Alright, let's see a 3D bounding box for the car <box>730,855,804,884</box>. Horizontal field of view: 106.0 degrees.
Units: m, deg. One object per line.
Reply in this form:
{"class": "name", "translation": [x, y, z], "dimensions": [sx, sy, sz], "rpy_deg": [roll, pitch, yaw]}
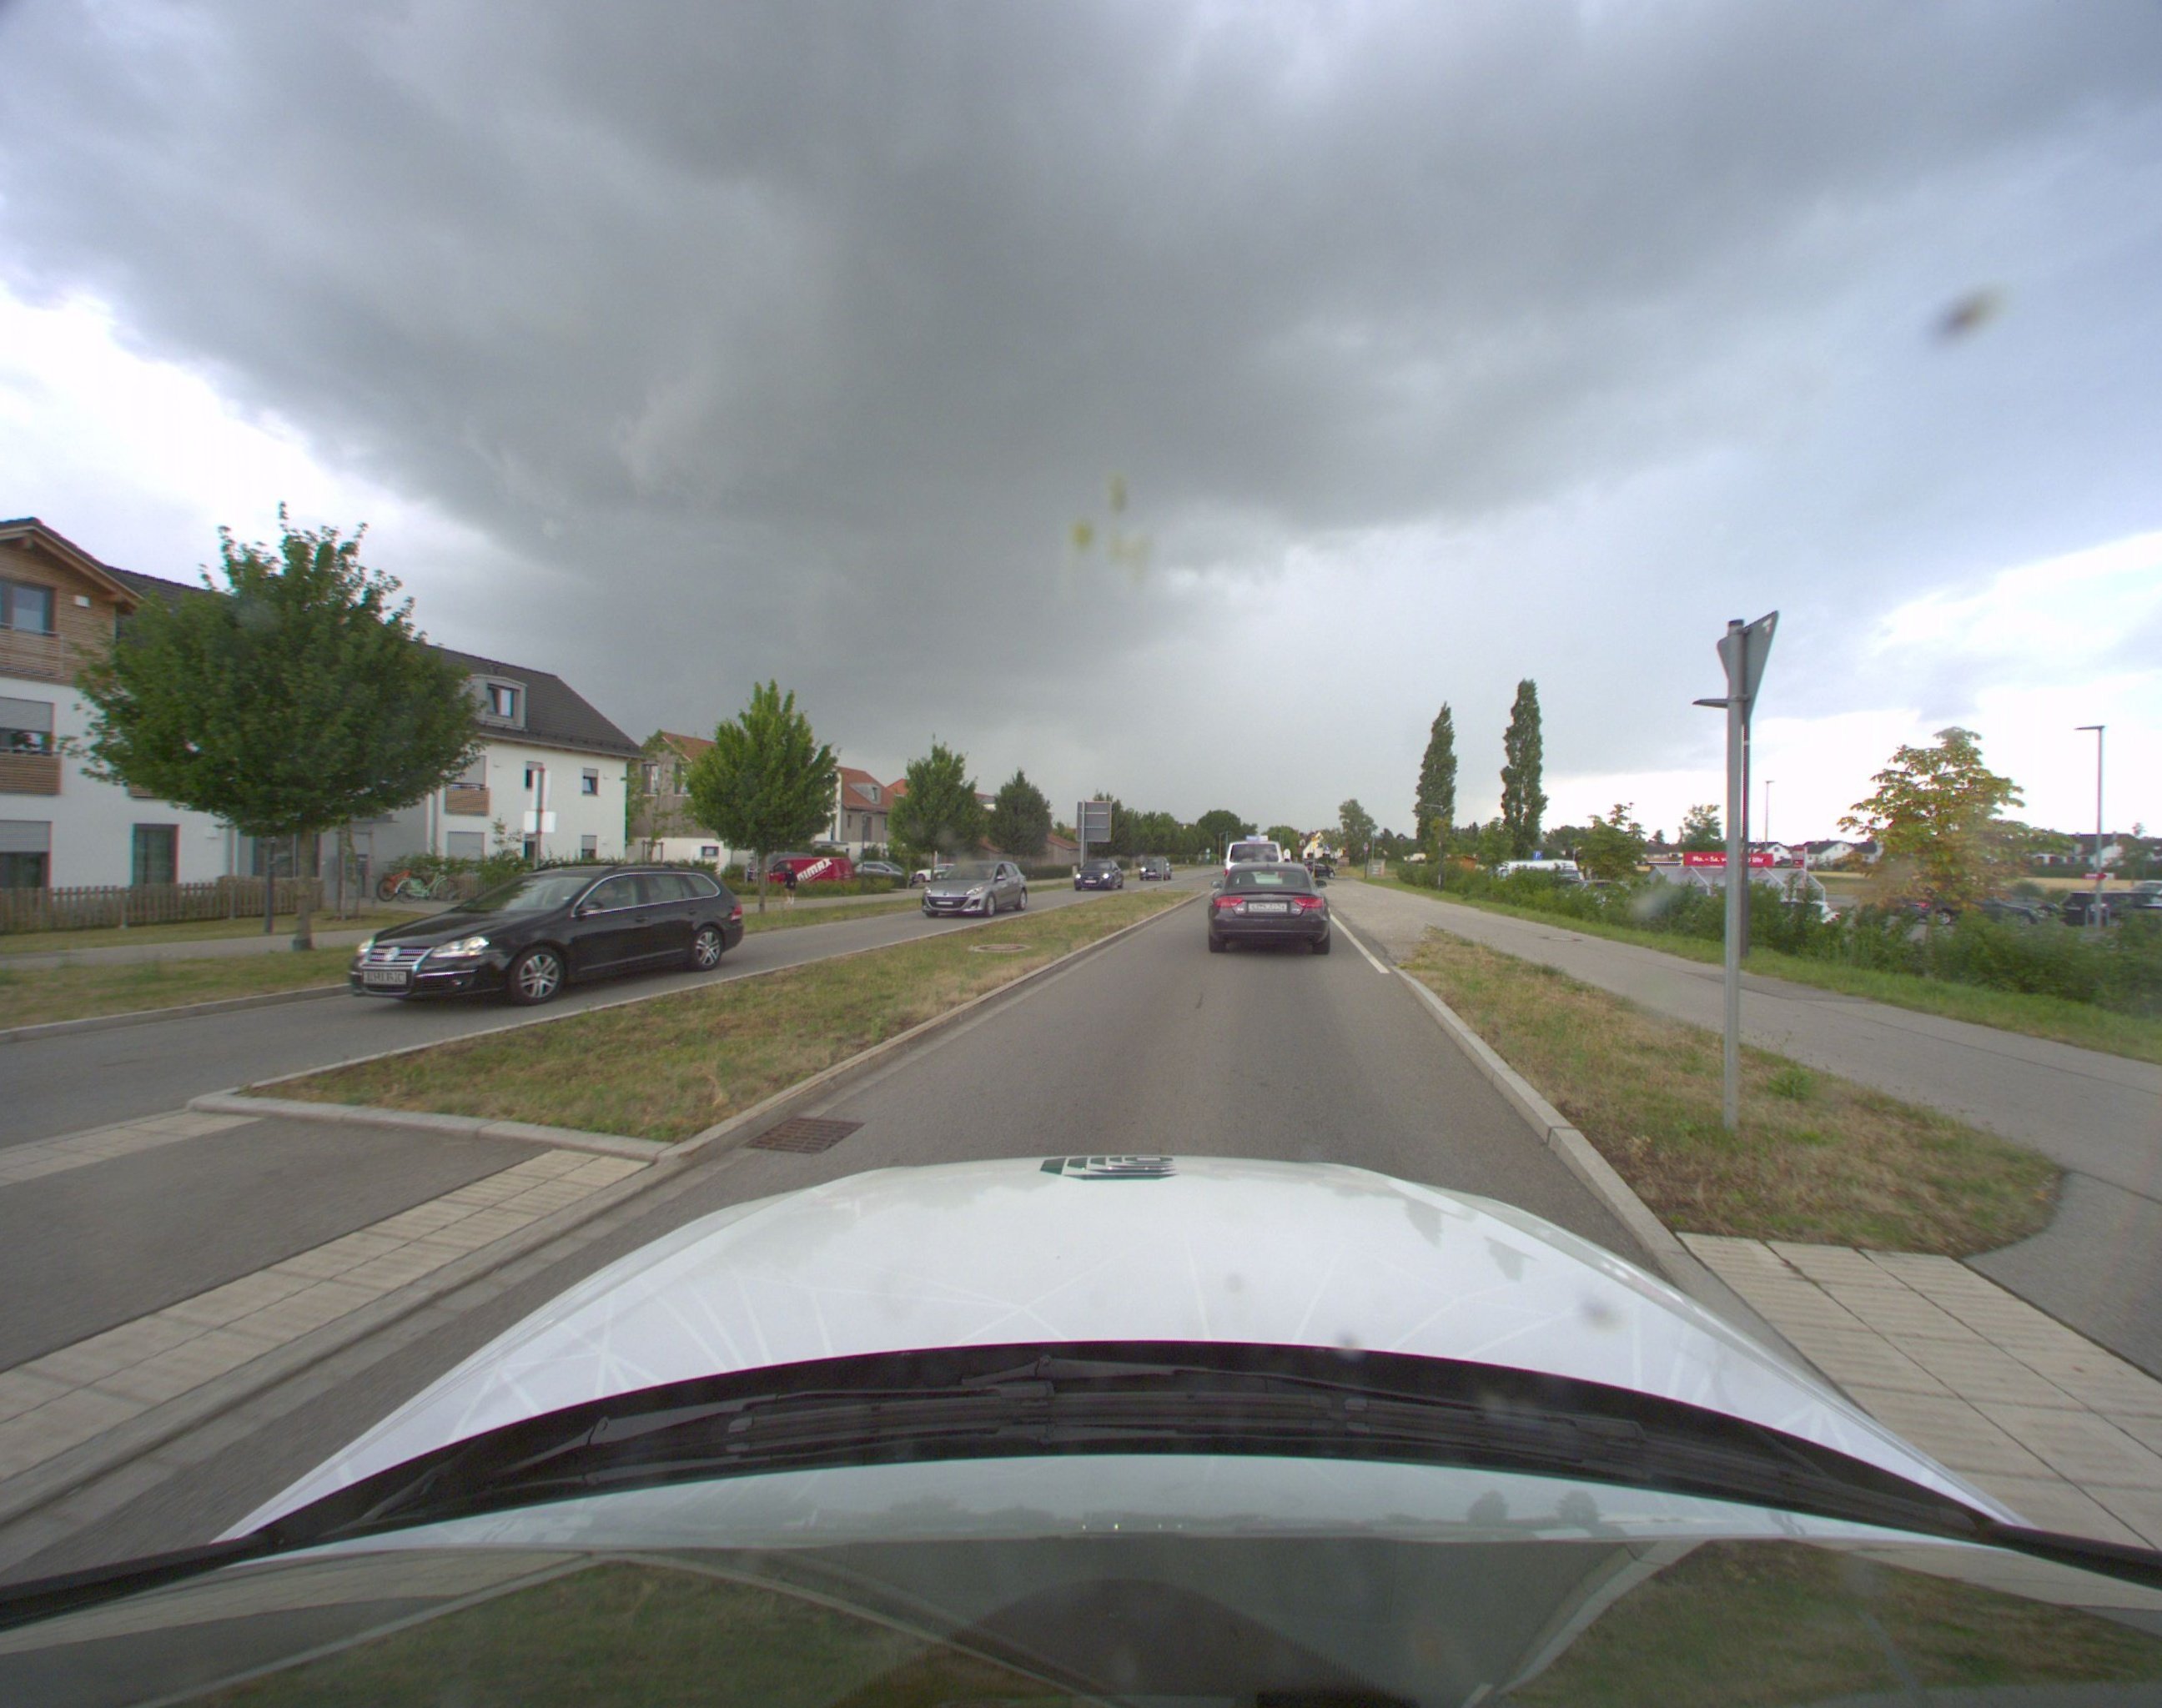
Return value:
{"class": "car", "translation": [-20.130, 0.988, 52.376], "dimensions": [1.978, 1.772, 4.486], "rpy_deg": [1, -1, 18]}

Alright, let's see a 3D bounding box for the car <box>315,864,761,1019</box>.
{"class": "car", "translation": [-6.104, 0.854, 9.950], "dimensions": [1.740, 1.416, 4.473], "rpy_deg": [-1, -1, 15]}

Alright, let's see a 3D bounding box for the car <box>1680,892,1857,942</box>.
{"class": "car", "translation": [23.391, 2.121, 27.898], "dimensions": [4.203, 1.440, 2.007], "rpy_deg": [1, 0, 13]}

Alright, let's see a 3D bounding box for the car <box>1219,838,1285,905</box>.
{"class": "car", "translation": [5.431, 0.545, 26.006], "dimensions": [1.855, 1.934, 4.012], "rpy_deg": [-2, -1, 11]}

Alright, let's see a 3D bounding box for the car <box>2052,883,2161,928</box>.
{"class": "car", "translation": [43.441, 2.148, 33.722], "dimensions": [3.960, 1.706, 1.722], "rpy_deg": [1, -1, 12]}

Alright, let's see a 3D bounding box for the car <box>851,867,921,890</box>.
{"class": "car", "translation": [-12.422, 1.531, 51.902], "dimensions": [3.890, 1.315, 1.848], "rpy_deg": [1, 0, 10]}

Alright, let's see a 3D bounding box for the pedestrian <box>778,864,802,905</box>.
{"class": "pedestrian", "translation": [-11.372, 1.173, 31.854], "dimensions": [0.577, 1.559, 0.662], "rpy_deg": [1, 0, 11]}

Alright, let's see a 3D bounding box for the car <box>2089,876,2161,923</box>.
{"class": "car", "translation": [49.657, 2.055, 37.015], "dimensions": [5.088, 2.013, 2.001], "rpy_deg": [0, 1, 2]}

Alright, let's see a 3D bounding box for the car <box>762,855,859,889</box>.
{"class": "car", "translation": [-14.398, 0.920, 43.446], "dimensions": [4.496, 1.680, 2.008], "rpy_deg": [1, 0, 16]}

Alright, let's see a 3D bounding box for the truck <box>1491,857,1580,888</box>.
{"class": "truck", "translation": [30.005, 1.222, 53.917], "dimensions": [4.768, 1.872, 2.005], "rpy_deg": [1, -1, 8]}

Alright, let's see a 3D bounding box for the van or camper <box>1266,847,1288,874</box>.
{"class": "van or camper", "translation": [24.842, 0.869, 103.320], "dimensions": [2.607, 3.324, 6.844], "rpy_deg": [1, -1, 13]}

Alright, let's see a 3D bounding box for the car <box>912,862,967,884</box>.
{"class": "car", "translation": [-10.653, 1.426, 61.301], "dimensions": [3.707, 1.482, 1.691], "rpy_deg": [1, 0, 10]}

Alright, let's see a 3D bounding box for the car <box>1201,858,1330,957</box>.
{"class": "car", "translation": [3.023, 0.791, 13.633], "dimensions": [1.772, 1.391, 4.145], "rpy_deg": [-1, -1, 11]}

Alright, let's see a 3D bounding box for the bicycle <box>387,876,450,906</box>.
{"class": "bicycle", "translation": [-20.438, 1.135, 25.172], "dimensions": [0.365, 0.843, 1.553], "rpy_deg": [3, 0, 15]}

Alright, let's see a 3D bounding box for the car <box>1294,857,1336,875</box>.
{"class": "car", "translation": [18.859, 1.006, 65.641], "dimensions": [3.529, 1.372, 1.427], "rpy_deg": [2, -1, -39]}

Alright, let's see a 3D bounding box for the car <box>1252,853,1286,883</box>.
{"class": "car", "translation": [10.784, 0.769, 46.586], "dimensions": [1.764, 1.618, 4.015], "rpy_deg": [1, 0, 14]}

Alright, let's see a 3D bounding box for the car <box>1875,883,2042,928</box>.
{"class": "car", "translation": [37.355, 2.174, 34.814], "dimensions": [4.525, 1.664, 2.007], "rpy_deg": [1, 0, 13]}

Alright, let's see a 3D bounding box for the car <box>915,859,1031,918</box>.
{"class": "car", "translation": [-2.822, 0.863, 22.229], "dimensions": [1.718, 1.410, 4.221], "rpy_deg": [0, 0, 13]}

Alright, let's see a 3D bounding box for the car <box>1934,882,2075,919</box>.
{"class": "car", "translation": [44.733, 2.210, 39.565], "dimensions": [4.281, 1.578, 1.774], "rpy_deg": [1, 0, 15]}

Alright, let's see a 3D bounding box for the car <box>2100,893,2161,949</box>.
{"class": "car", "translation": [36.250, 2.178, 25.996], "dimensions": [4.373, 1.664, 2.007], "rpy_deg": [1, 0, 13]}

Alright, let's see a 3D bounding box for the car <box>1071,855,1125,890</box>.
{"class": "car", "translation": [0.857, 0.858, 38.885], "dimensions": [1.855, 1.574, 4.013], "rpy_deg": [-1, 0, 12]}

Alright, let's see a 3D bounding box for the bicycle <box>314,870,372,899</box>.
{"class": "bicycle", "translation": [-23.293, 0.959, 25.724], "dimensions": [0.365, 0.843, 1.343], "rpy_deg": [3, 0, 15]}

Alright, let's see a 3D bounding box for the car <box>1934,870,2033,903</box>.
{"class": "car", "translation": [60.766, 2.162, 54.893], "dimensions": [3.957, 1.837, 2.009], "rpy_deg": [4, 0, 17]}

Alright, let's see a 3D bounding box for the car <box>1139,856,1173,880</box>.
{"class": "car", "translation": [5.153, 0.916, 55.785], "dimensions": [1.855, 1.574, 4.013], "rpy_deg": [1, 0, 12]}
